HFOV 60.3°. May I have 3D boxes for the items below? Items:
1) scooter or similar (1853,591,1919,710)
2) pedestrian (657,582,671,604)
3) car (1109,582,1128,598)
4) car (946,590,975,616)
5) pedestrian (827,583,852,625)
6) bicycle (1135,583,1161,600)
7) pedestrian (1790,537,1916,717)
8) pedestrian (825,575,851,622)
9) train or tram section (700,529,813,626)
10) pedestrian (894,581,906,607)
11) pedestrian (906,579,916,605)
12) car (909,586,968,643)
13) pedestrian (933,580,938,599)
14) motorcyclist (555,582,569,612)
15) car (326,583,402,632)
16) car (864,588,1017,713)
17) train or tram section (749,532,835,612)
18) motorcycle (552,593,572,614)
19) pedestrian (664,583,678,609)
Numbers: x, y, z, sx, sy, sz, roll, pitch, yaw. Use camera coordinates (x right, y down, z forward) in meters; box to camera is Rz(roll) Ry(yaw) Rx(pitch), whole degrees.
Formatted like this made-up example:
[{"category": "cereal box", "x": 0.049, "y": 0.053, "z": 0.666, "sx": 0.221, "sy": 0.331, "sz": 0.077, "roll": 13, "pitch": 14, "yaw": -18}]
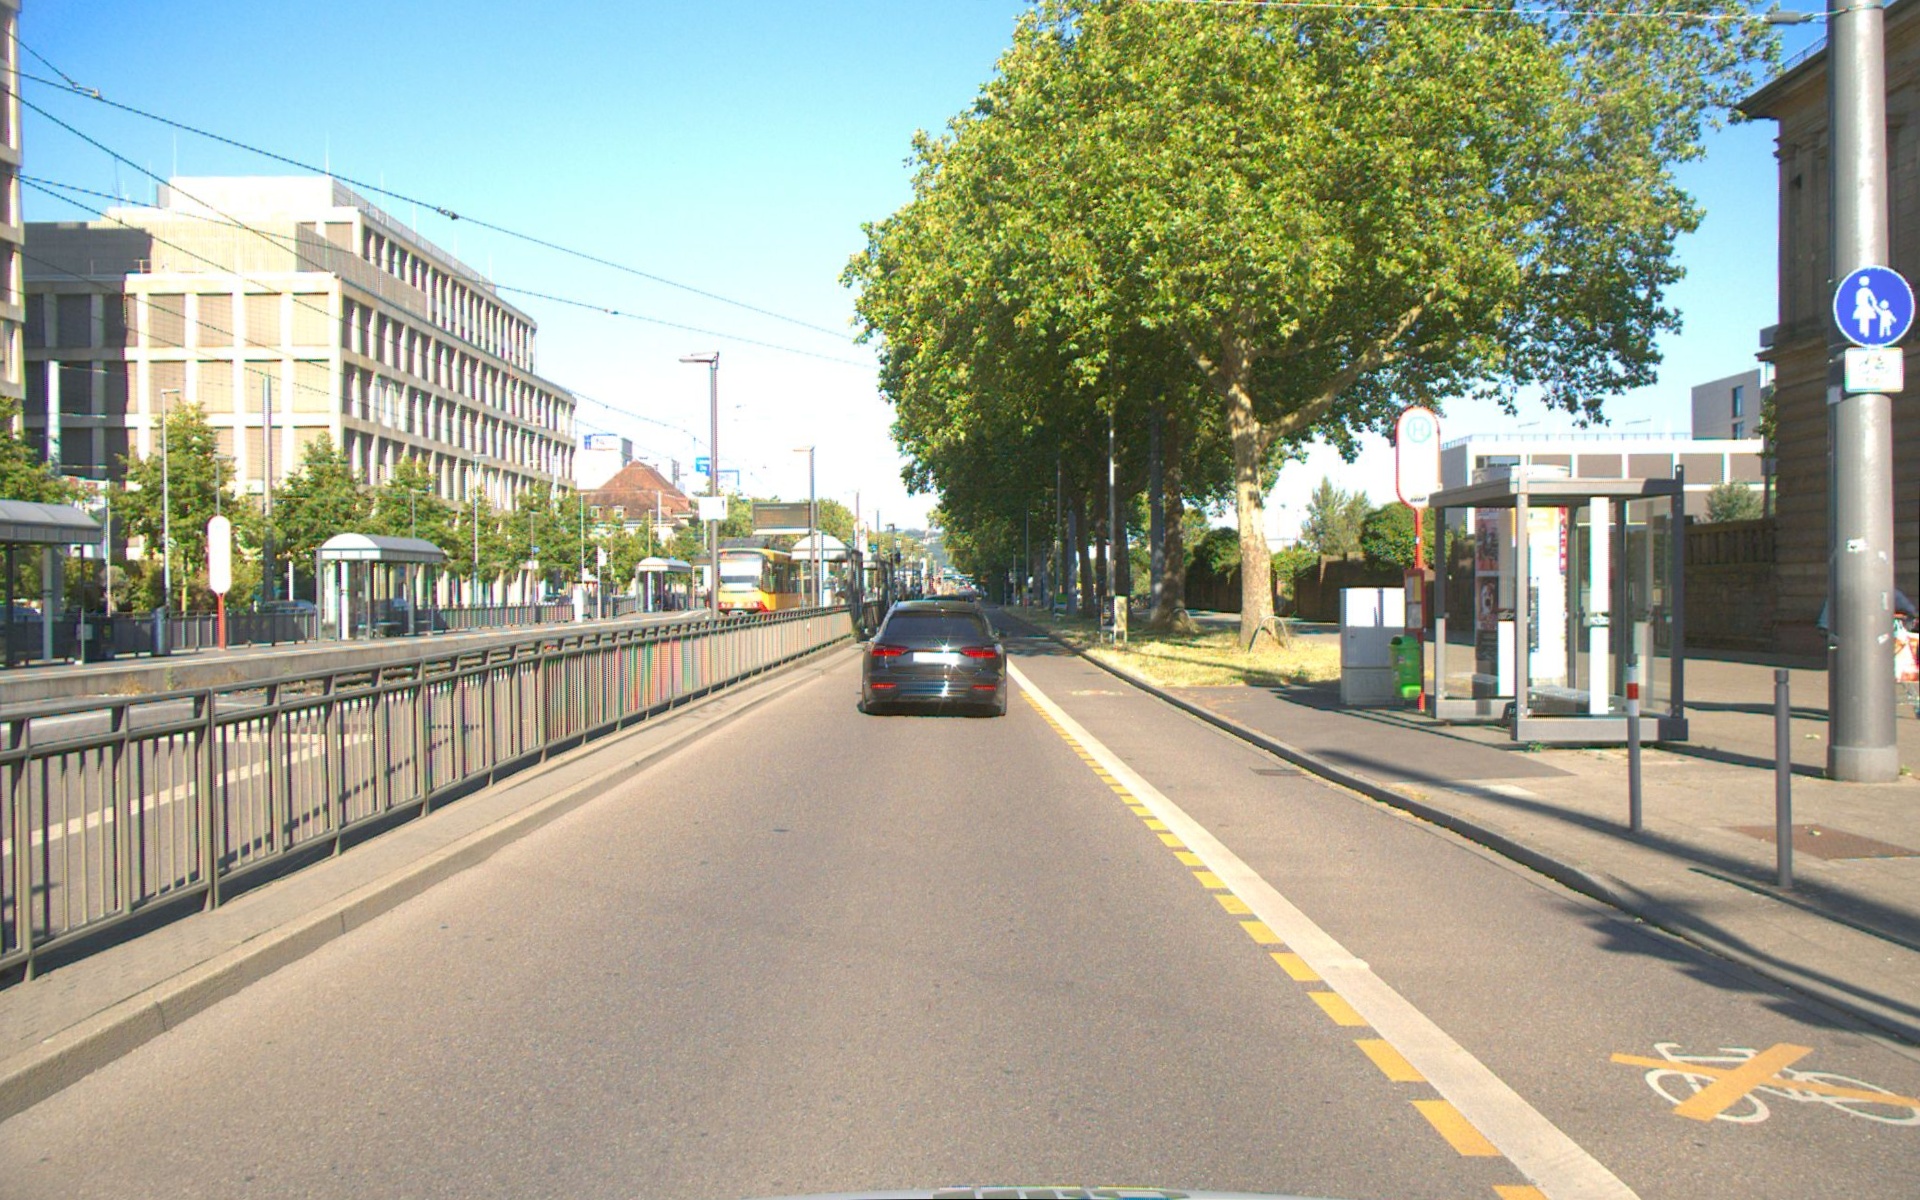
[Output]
[{"category": "scooter or similar", "x": 9.830, "y": 0.505, "z": 17.110, "sx": 0.704, "sy": 1.176, "sz": 0.759, "roll": -2, "pitch": 0, "yaw": -6}, {"category": "pedestrian", "x": -17.160, "y": -0.401, "z": 95.940, "sx": 0.601, "sy": 1.282, "sz": 0.725, "roll": 0, "pitch": 0, "yaw": 4}, {"category": "car", "x": 15.261, "y": -0.974, "z": 159.416, "sx": 1.581, "sy": 1.542, "sz": 3.803, "roll": 0, "pitch": 0, "yaw": 1}, {"category": "car", "x": 0.013, "y": 0.213, "z": 108.879, "sx": 1.727, "sy": 1.647, "sz": 3.999, "roll": -1, "pitch": 0, "yaw": -2}, {"category": "pedestrian", "x": -3.734, "y": 0.113, "z": 51.294, "sx": 0.726, "sy": 1.296, "sz": 0.524, "roll": -1, "pitch": 0, "yaw": -1}, {"category": "bicycle", "x": 13.221, "y": -0.570, "z": 116.253, "sx": 1.737, "sy": 1.140, "sz": 0.439, "roll": -2, "pitch": 0, "yaw": -1}, {"category": "pedestrian", "x": 9.155, "y": 0.269, "z": 16.973, "sx": 0.757, "sy": 1.775, "sz": 0.793, "roll": -2, "pitch": 0, "yaw": -16}, {"category": "pedestrian", "x": -4.040, "y": -0.063, "z": 54.770, "sx": 0.730, "sy": 1.535, "sz": 0.666, "roll": -1, "pitch": 0, "yaw": 3}, {"category": "train or tram section", "x": -8.803, "y": -0.942, "z": 73.649, "sx": 3.241, "sy": 3.896, "sz": 14.219, "roll": 0, "pitch": 0, "yaw": 0}, {"category": "pedestrian", "x": -3.659, "y": -0.391, "z": 101.108, "sx": 0.601, "sy": 1.576, "sz": 0.725, "roll": 0, "pitch": 0, "yaw": 10}, {"category": "pedestrian", "x": -3.203, "y": -0.513, "z": 107.161, "sx": 0.599, "sy": 1.698, "sz": 0.614, "roll": 0, "pitch": 0, "yaw": 2}, {"category": "car", "x": -0.692, "y": 0.418, "z": 50.708, "sx": 1.727, "sy": 1.647, "sz": 3.999, "roll": -1, "pitch": 0, "yaw": -2}, {"category": "pedestrian", "x": -2.327, "y": -1.006, "z": 156.583, "sx": 0.403, "sy": 1.747, "sz": 0.666, "roll": 0, "pitch": 0, "yaw": 0}, {"category": "motorcyclist", "x": -20.846, "y": -0.137, "z": 86.631, "sx": 0.563, "sy": 1.560, "sz": 0.765, "roll": -1, "pitch": 0, "yaw": 1}, {"category": "car", "x": -25.815, "y": 0.279, "z": 71.760, "sx": 1.953, "sy": 2.049, "sz": 3.999, "roll": -1, "pitch": 1, "yaw": -2}, {"category": "car", "x": -0.292, "y": 0.598, "z": 21.721, "sx": 1.840, "sy": 1.482, "sz": 3.355, "roll": -1, "pitch": 1, "yaw": -2}, {"category": "train or tram section", "x": -8.652, "y": -1.403, "z": 86.792, "sx": 3.241, "sy": 3.896, "sz": 11.843, "roll": 0, "pitch": 0, "yaw": 0}, {"category": "motorcycle", "x": -20.848, "y": 0.168, "z": 86.683, "sx": 0.592, "sy": 1.039, "sz": 1.842, "roll": -1, "pitch": 1, "yaw": 1}, {"category": "pedestrian", "x": -17.214, "y": -0.229, "z": 98.389, "sx": 0.601, "sy": 1.554, "sz": 0.725, "roll": 0, "pitch": 0, "yaw": 9}]
